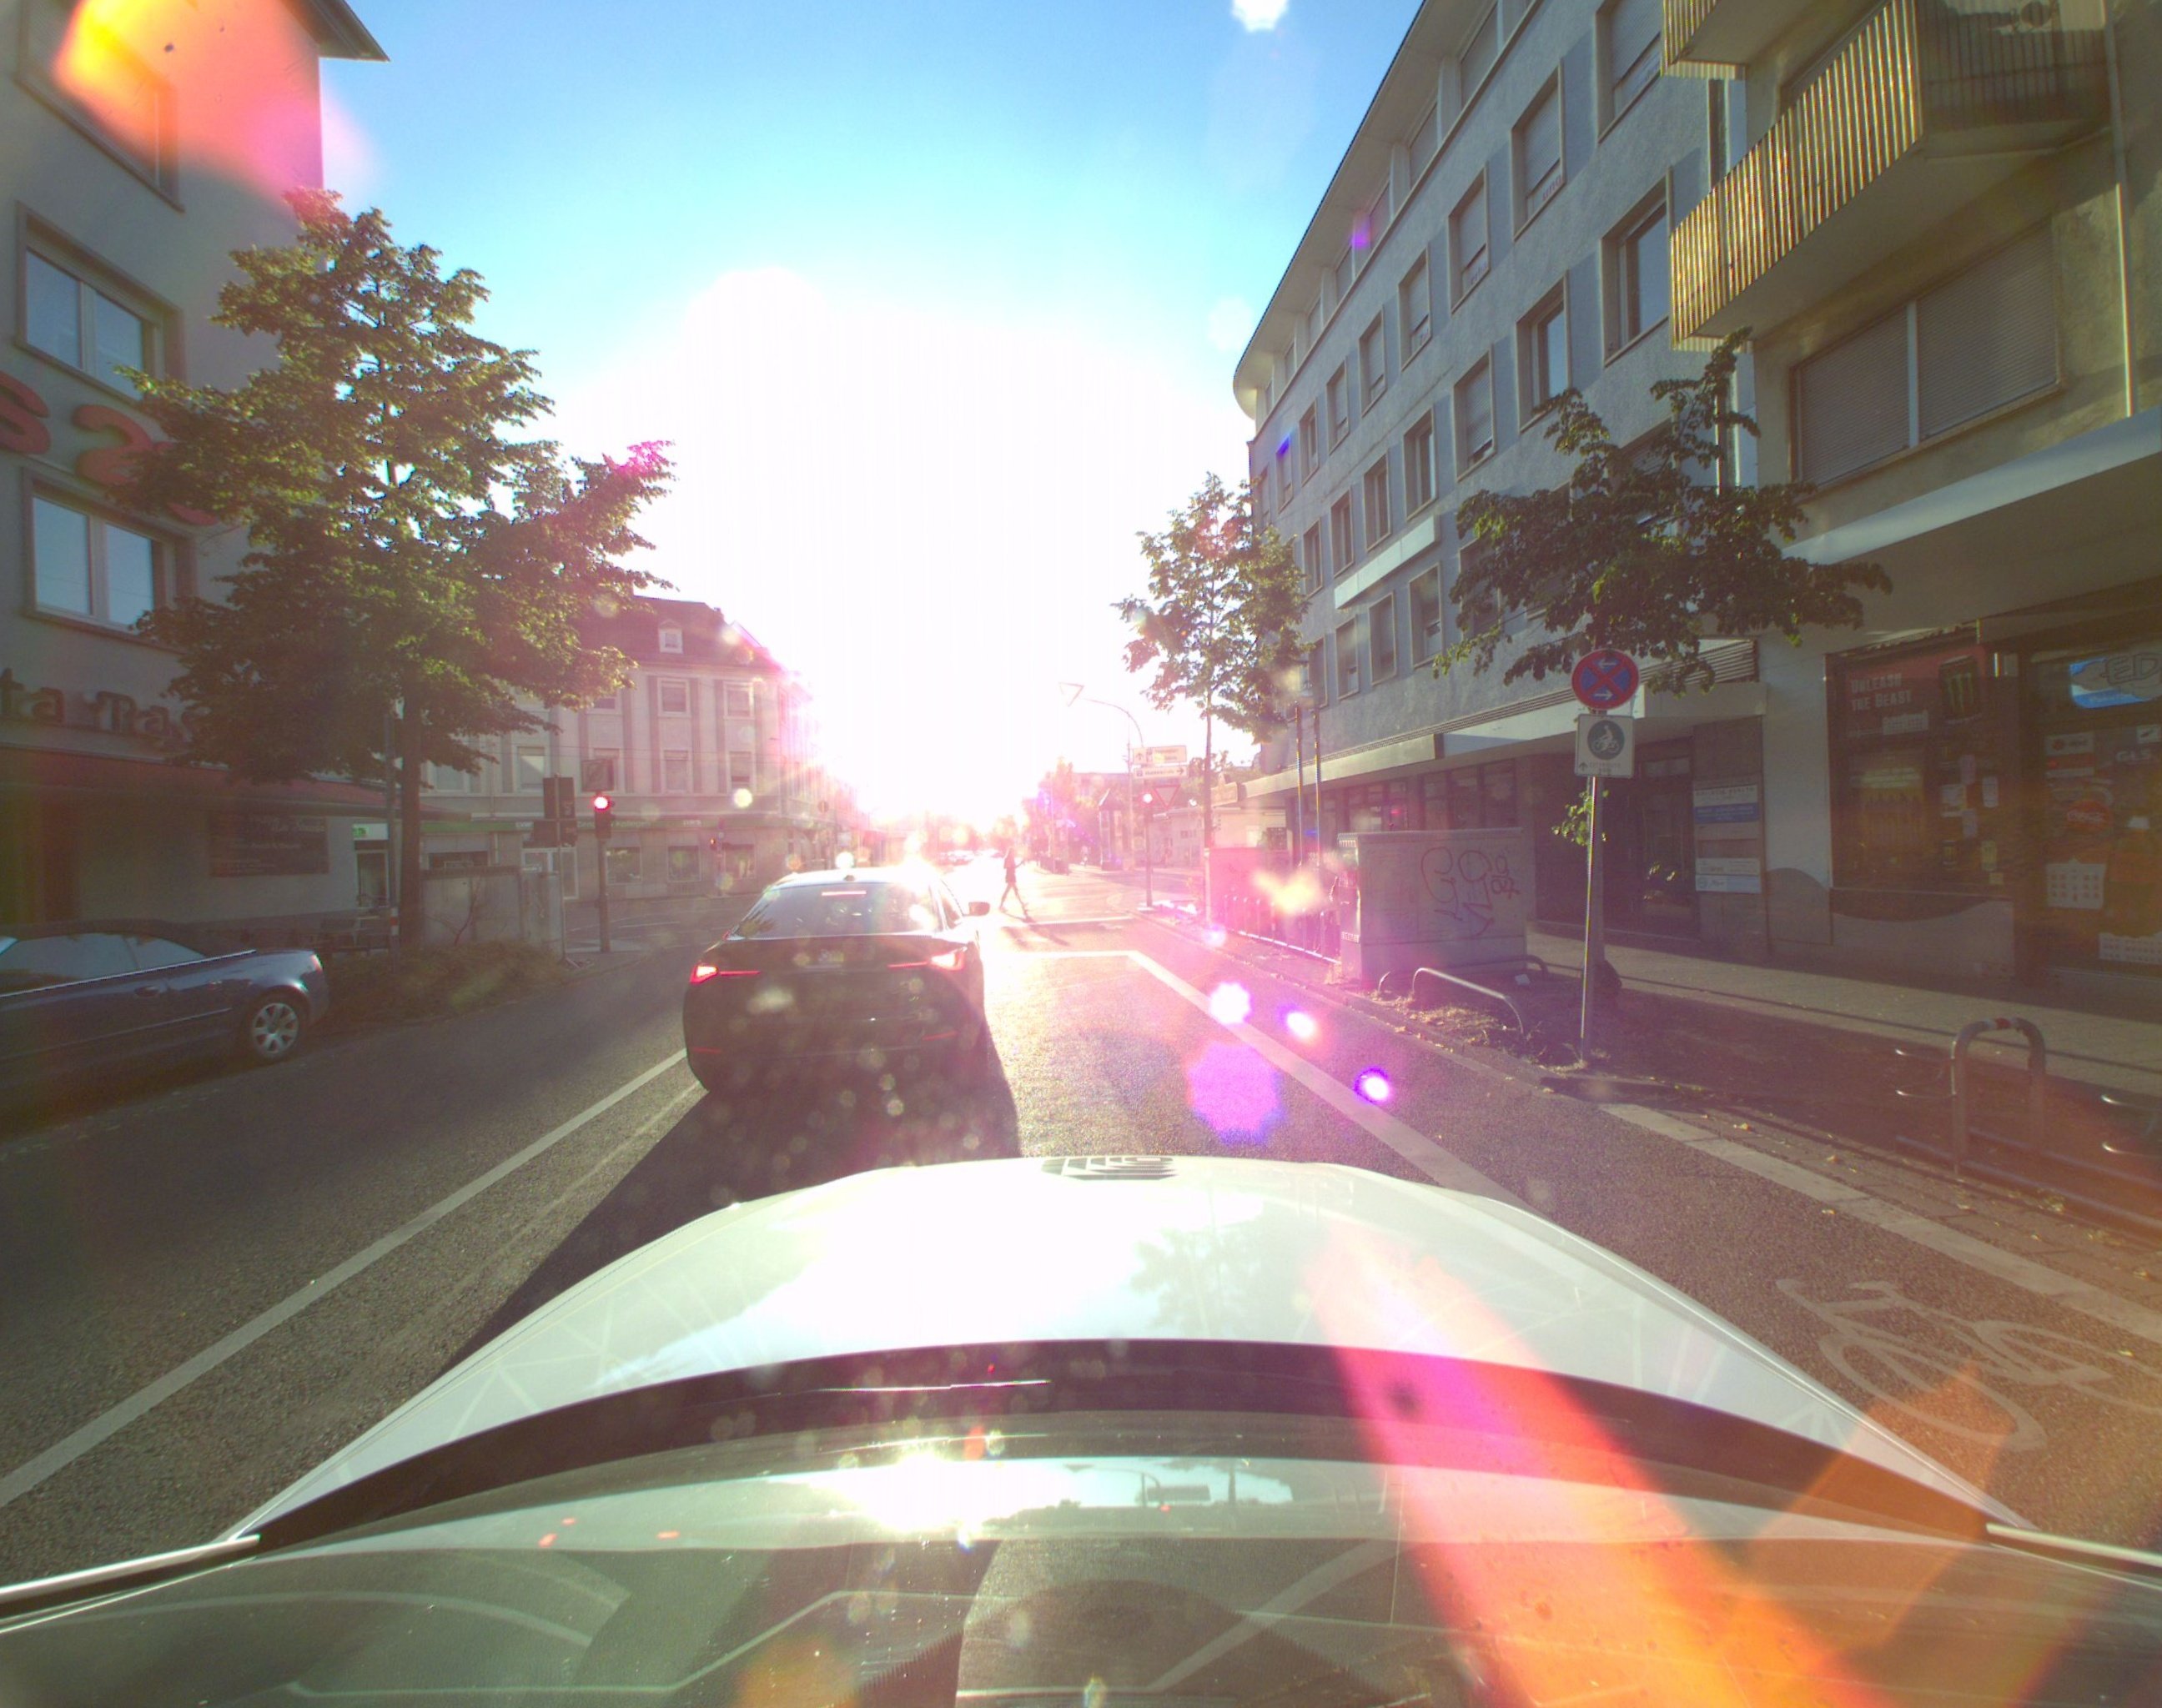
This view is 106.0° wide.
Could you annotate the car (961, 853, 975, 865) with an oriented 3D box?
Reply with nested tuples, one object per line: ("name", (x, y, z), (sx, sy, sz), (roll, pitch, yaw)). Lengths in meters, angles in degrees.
("car", (-15.713, 0.657, 113.558), (1.816, 1.519, 3.992), (-2, 0, -6))

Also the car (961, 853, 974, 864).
("car", (-17.468, 0.651, 125.399), (1.816, 1.519, 3.992), (-2, 0, -6))

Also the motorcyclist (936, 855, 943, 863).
("motorcyclist", (-16.464, 0.626, 94.757), (0.574, 0.915, 2.196), (0, 0, -6))

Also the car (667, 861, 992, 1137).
("car", (-1.643, 0.809, 6.652), (1.735, 1.428, 4.213), (-1, 0, -7))

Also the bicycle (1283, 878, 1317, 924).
("bicycle", (4.131, 0.876, 15.402), (0.249, 0.796, 1.114), (0, 0, -4))

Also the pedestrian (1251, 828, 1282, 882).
("pedestrian", (6.546, 0.031, 28.723), (0.834, 1.841, 0.677), (-2, 0, -6))

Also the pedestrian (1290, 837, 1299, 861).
("pedestrian", (15.362, -0.349, 58.615), (0.445, 1.735, 0.429), (0, 0, -31))

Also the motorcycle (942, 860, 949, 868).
("motorcycle", (-15.702, 1.151, 94.316), (0.574, 0.915, 2.196), (0, 0, -6))

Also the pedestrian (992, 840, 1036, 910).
("pedestrian", (-1.850, 0.567, 22.562), (1.006, 1.860, 0.634), (-2, 0, -27))

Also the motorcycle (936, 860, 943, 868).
("motorcycle", (-16.468, 1.157, 94.732), (0.574, 0.915, 2.196), (0, 0, -6))

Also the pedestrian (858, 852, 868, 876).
("pedestrian", (-16.809, 0.777, 62.766), (0.642, 1.876, 0.630), (0, 0, -7))

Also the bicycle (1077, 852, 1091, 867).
("bicycle", (0.219, 0.414, 64.065), (0.551, 1.159, 2.132), (-1, -1, -16))

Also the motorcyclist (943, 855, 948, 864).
("motorcyclist", (-15.704, 0.620, 94.218), (0.574, 0.995, 0.701), (0, 0, -6))

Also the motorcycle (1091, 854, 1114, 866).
("motorcycle", (1.781, 0.512, 68.004), (1.673, 0.939, 0.851), (-2, 0, -18))

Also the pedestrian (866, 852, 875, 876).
("pedestrian", (-16.623, 0.775, 64.281), (0.616, 1.876, 0.676), (0, 0, -10))

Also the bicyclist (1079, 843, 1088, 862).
("bicyclist", (0.198, -0.081, 64.124), (0.551, 1.481, 0.719), (-1, -1, -16))

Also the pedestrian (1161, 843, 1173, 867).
("pedestrian", (5.744, 0.068, 54.270), (0.730, 1.529, 0.472), (0, 0, 0))

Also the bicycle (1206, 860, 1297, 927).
("bicycle", (3.179, 0.727, 15.213), (1.610, 1.171, 0.318), (-2, 0, -5))

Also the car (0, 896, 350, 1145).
("car", (-7.638, 1.158, 5.547), (1.721, 1.415, 4.270), (-4, 0, -7))

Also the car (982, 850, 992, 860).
("car", (-18.587, 0.216, 160.750), (1.768, 1.848, 3.995), (-2, 0, -4))

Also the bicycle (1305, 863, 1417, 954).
("bicycle", (3.905, 0.747, 11.387), (1.438, 1.220, 0.383), (0, 0, -5))

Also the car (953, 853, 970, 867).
("car", (-13.958, 0.738, 95.199), (1.816, 1.519, 3.992), (-2, 0, -6))
